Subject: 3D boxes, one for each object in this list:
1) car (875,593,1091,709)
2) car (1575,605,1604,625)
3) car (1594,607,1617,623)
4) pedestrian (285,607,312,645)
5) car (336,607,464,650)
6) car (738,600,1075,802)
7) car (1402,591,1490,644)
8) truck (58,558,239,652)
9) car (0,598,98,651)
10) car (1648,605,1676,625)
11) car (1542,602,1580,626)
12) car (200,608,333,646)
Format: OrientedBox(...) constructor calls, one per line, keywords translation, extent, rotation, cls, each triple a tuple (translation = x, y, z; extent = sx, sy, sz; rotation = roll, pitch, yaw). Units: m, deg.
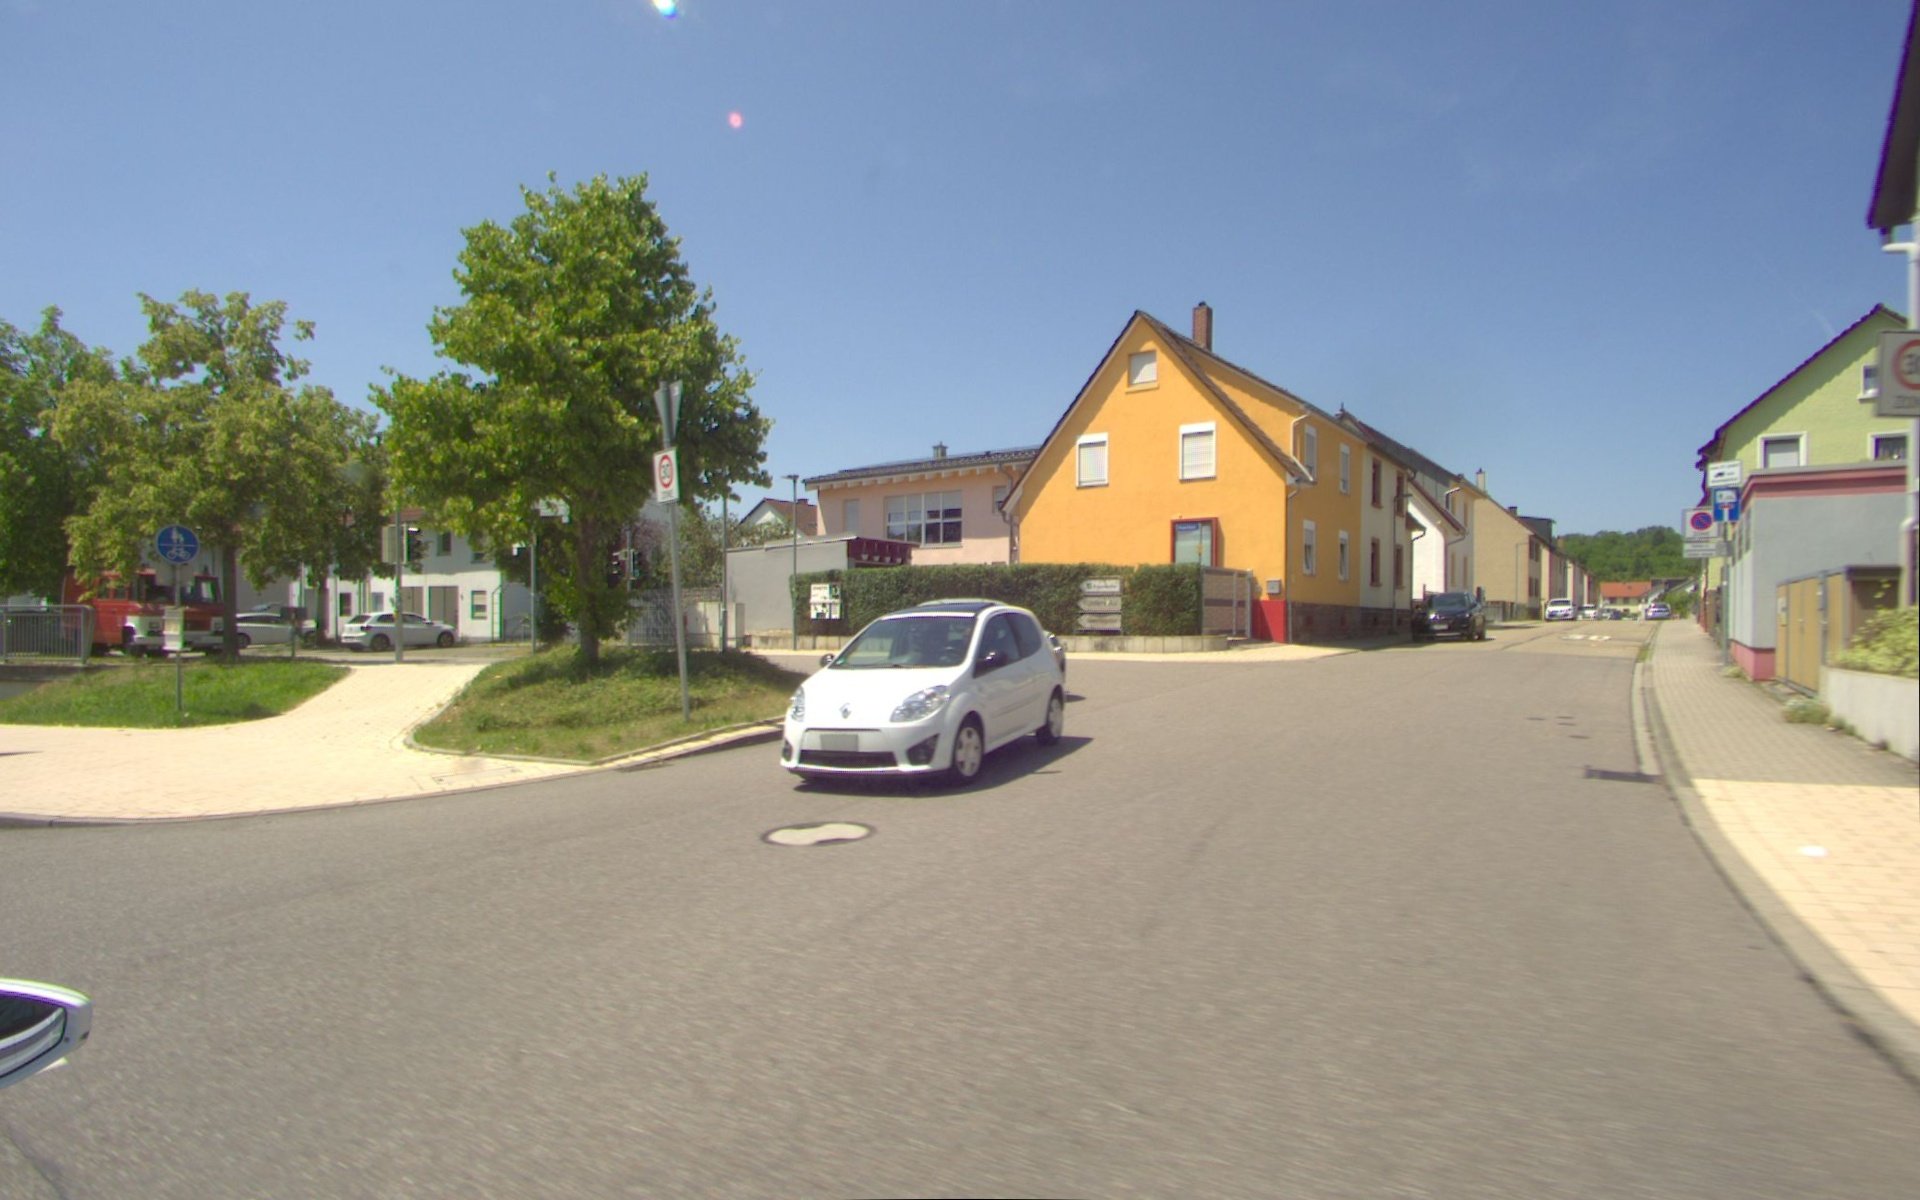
OrientedBox(translation=(0.221, 0.716, 16.187), extent=(1.748, 1.556, 4.108), rotation=(-3, 1, -26), cls="car")
OrientedBox(translation=(54.708, 1.272, 86.957), extent=(1.973, 1.617, 3.975), rotation=(-2, -1, 35), cls="car")
OrientedBox(translation=(69.844, 1.639, 108.269), extent=(1.973, 1.617, 3.975), rotation=(-2, -1, 35), cls="car")
OrientedBox(translation=(-27.956, 1.095, 42.324), extent=(0.602, 1.532, 0.740), rotation=(-1, 2, -7), cls="pedestrian")
OrientedBox(translation=(-21.347, 1.060, 38.306), extent=(1.731, 1.498, 3.930), rotation=(-1, 1, 30), cls="car")
OrientedBox(translation=(-0.280, 0.785, 9.499), extent=(1.746, 1.498, 3.671), rotation=(-2, -1, 23), cls="car")
OrientedBox(translation=(15.941, 0.555, 32.751), extent=(1.973, 1.617, 3.975), rotation=(-2, -1, 35), cls="car")
OrientedBox(translation=(-22.162, 0.184, 27.303), extent=(5.180, 2.364, 2.130), rotation=(-1, -1, 30), cls="truck")
OrientedBox(translation=(-28.256, 0.714, 29.528), extent=(1.723, 1.518, 3.981), rotation=(-1, -1, 31), cls="car")
OrientedBox(translation=(58.104, 1.235, 82.880), extent=(1.814, 1.617, 3.860), rotation=(-1, -1, 35), cls="car")
OrientedBox(translation=(41.057, 0.942, 68.405), extent=(1.973, 1.617, 3.975), rotation=(-2, -1, 35), cls="car")
OrientedBox(translation=(-30.069, 1.139, 43.561), extent=(1.731, 1.509, 4.398), rotation=(-1, 0, 30), cls="car")
